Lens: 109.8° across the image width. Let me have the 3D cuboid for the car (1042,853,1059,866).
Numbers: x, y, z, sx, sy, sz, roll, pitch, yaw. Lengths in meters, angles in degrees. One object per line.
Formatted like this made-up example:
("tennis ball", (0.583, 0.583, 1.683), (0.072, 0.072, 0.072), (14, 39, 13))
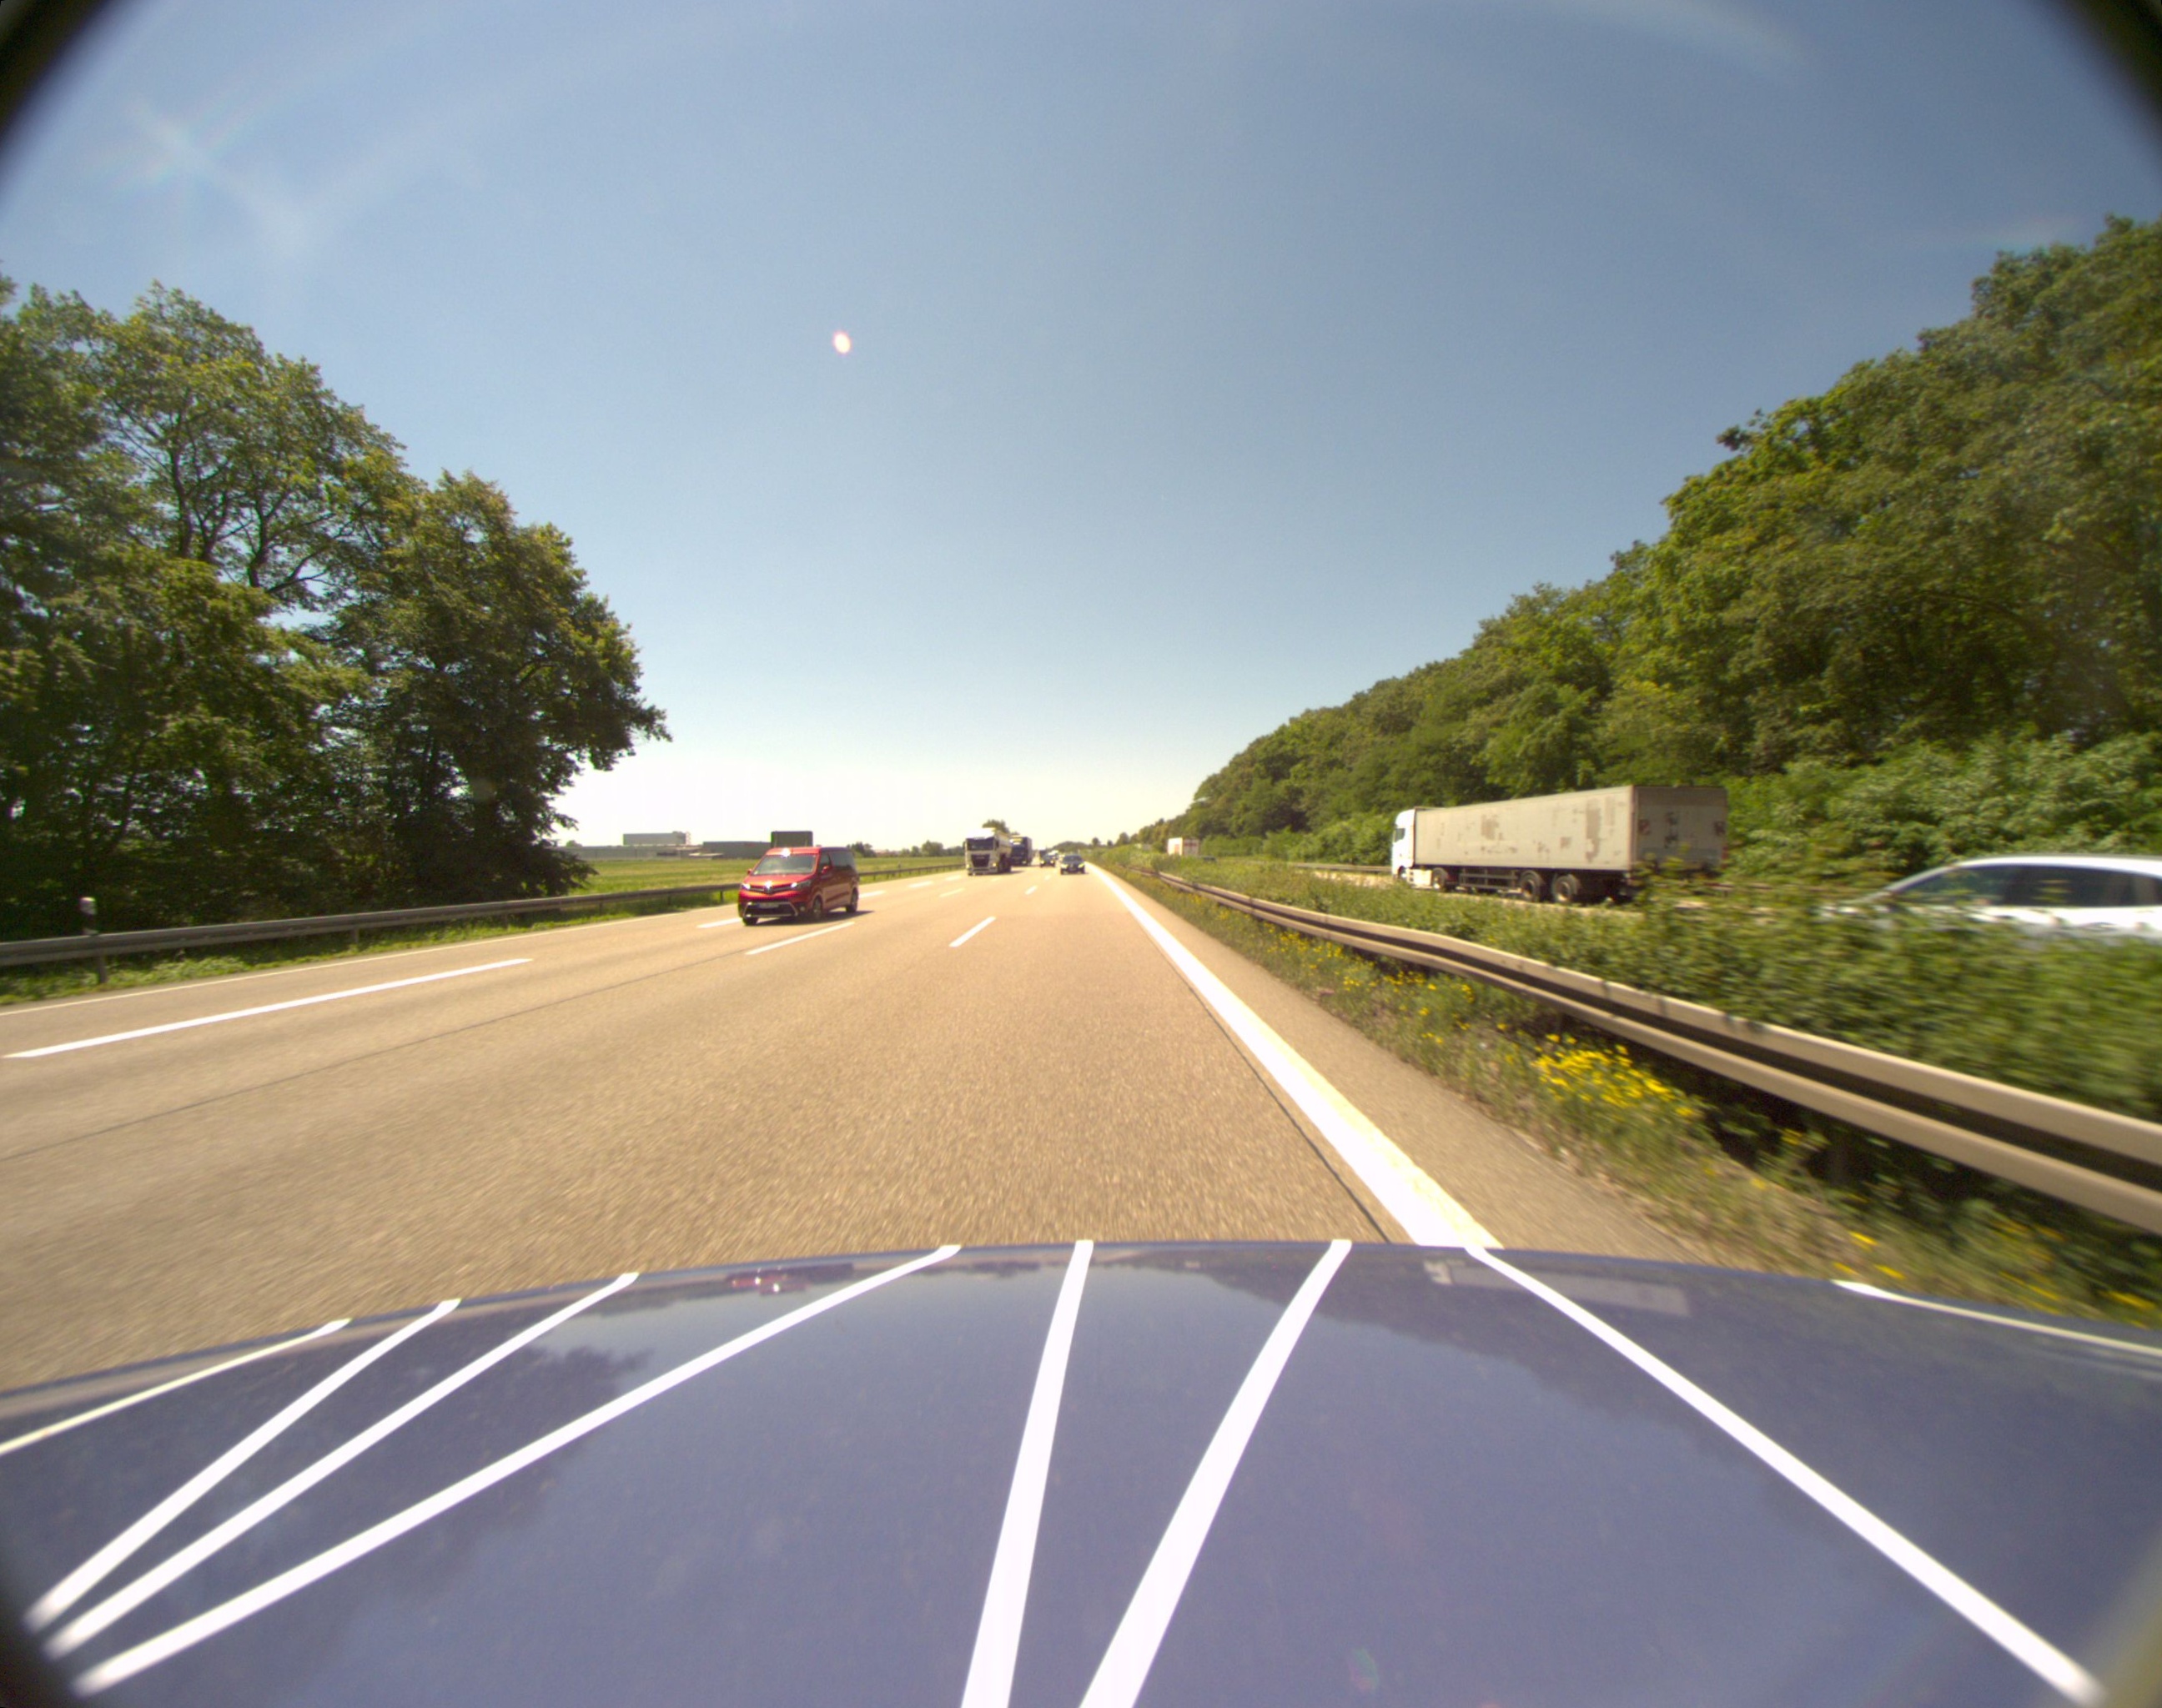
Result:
("car", (-3.669, 0.627, 90.465), (1.841, 1.409, 4.496), (-1, 0, -3))

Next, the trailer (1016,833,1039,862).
("trailer", (-7.932, -0.972, 114.194), (2.797, 4.180, 10.805), (-1, 0, -1))

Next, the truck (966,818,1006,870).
("truck", (-7.926, -0.831, 64.009), (2.798, 4.180, 4.999), (-1, 0, -2))

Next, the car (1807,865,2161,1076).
("car", (8.972, 0.898, 6.407), (1.816, 1.479, 4.014), (-1, 1, -1))

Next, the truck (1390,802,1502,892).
("truck", (16.603, -0.318, 34.923), (2.789, 3.801, 4.884), (-1, 1, 0))

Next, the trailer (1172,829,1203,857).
("trailer", (16.177, -1.659, 116.396), (2.928, 4.026, 12.913), (-1, 0, 0))

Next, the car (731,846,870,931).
("car", (-7.586, 0.820, 21.244), (1.860, 1.991, 5.521), (-2, 0, -1))

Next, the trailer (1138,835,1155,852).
("trailer", (15.609, -2.466, 181.900), (2.841, 4.011, 12.911), (1, 0, -1))

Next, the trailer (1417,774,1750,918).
("trailer", (16.655, -0.262, 27.409), (2.917, 3.855, 13.640), (-1, 0, 0))

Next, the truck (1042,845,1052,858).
("truck", (-11.048, -0.735, 245.436), (2.798, 4.180, 10.803), (-1, 0, -3))

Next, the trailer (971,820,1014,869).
("trailer", (-8.119, -0.850, 71.567), (2.797, 4.180, 12.350), (-1, 0, -1))

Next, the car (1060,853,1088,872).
("car", (-0.555, 0.620, 58.008), (1.887, 1.341, 4.466), (-1, 0, -3))

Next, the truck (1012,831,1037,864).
("truck", (-7.708, -0.898, 104.159), (2.797, 4.180, 10.804), (-1, 0, -1))

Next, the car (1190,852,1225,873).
("car", (9.168, 0.570, 55.449), (1.816, 1.396, 4.014), (-1, 1, -1))
